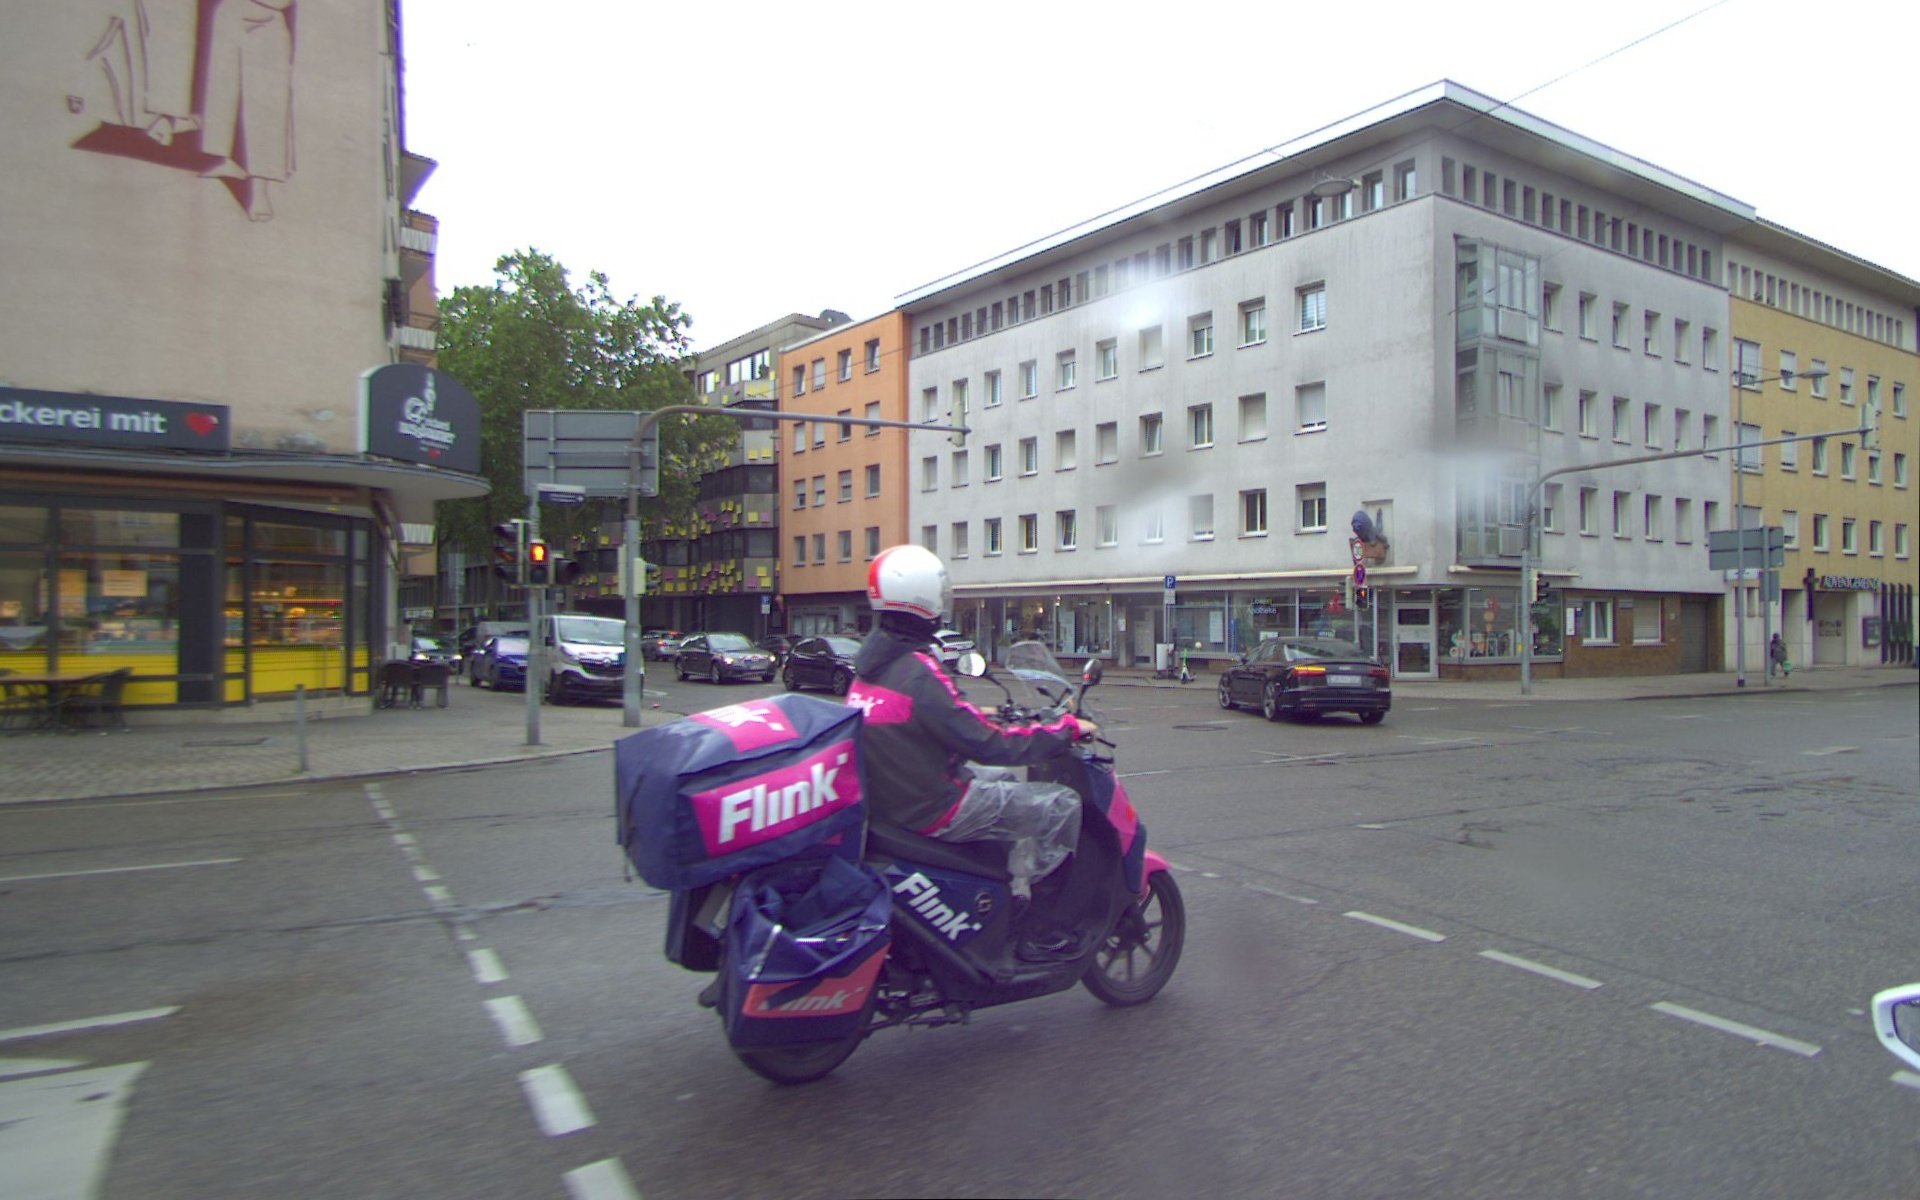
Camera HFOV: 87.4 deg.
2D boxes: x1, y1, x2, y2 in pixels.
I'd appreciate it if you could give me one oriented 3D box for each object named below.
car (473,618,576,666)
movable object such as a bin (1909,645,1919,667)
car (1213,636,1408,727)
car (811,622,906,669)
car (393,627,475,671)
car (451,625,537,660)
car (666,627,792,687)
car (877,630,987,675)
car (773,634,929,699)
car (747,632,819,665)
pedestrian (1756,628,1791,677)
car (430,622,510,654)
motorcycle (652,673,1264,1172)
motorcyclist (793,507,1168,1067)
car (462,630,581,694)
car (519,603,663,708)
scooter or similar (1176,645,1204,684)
[{"bbox_3d":[-23.324,2.195,53.870,4.729,2.337,1.869,-1,1,-40],"label":"car"},{"bbox_3d":[40.212,2.346,42.141,0.496,0.942,0.452,1,-1,-29],"label":"movable object such as a bin"},{"bbox_3d":[6.015,1.351,17.877,1.960,1.406,4.501,0,-2,1],"label":"car"},{"bbox_3d":[-3.782,1.674,36.964,1.683,1.648,3.958,2,-3,-37],"label":"car"},{"bbox_3d":[-20.324,1.864,38.738,1.828,1.510,4.211,5,-4,-41],"label":"car"},{"bbox_3d":[-25.637,2.317,55.312,3.966,1.684,1.869,-1,1,-40],"label":"car"},{"bbox_3d":[-7.087,1.666,30.447,2.028,1.611,4.606,0,-1,-37],"label":"car"},{"bbox_3d":[-1.144,2.007,39.266,2.031,1.652,4.288,2,-3,-41],"label":"car"},{"bbox_3d":[-2.819,1.600,25.268,2.027,1.394,4.295,0,-1,-37],"label":"car"},{"bbox_3d":[-8.480,2.282,47.911,1.836,1.491,3.795,2,-2,-38],"label":"car"},{"bbox_3d":[27.358,1.768,33.799,0.644,1.602,0.684,1,1,-28],"label":"pedestrian"},{"bbox_3d":[-29.078,2.231,59.642,3.966,1.684,1.869,-1,1,-40],"label":"car"},{"bbox_3d":[0.100,0.877,3.382,2.081,1.207,0.583,2,-1,-34],"label":"motorcycle"},{"bbox_3d":[0.044,0.516,3.337,0.855,1.513,0.909,2,-1,-34],"label":"motorcyclist"},{"bbox_3d":[-12.185,1.681,27.784,2.028,1.575,4.295,5,-4,-37],"label":"car"},{"bbox_3d":[-8.571,1.242,23.053,2.025,2.130,4.824,4,-3,-33],"label":"car"},{"bbox_3d":[7.023,1.966,30.676,0.360,1.109,1.131,-2,0,37],"label":"scooter or similar"}]
